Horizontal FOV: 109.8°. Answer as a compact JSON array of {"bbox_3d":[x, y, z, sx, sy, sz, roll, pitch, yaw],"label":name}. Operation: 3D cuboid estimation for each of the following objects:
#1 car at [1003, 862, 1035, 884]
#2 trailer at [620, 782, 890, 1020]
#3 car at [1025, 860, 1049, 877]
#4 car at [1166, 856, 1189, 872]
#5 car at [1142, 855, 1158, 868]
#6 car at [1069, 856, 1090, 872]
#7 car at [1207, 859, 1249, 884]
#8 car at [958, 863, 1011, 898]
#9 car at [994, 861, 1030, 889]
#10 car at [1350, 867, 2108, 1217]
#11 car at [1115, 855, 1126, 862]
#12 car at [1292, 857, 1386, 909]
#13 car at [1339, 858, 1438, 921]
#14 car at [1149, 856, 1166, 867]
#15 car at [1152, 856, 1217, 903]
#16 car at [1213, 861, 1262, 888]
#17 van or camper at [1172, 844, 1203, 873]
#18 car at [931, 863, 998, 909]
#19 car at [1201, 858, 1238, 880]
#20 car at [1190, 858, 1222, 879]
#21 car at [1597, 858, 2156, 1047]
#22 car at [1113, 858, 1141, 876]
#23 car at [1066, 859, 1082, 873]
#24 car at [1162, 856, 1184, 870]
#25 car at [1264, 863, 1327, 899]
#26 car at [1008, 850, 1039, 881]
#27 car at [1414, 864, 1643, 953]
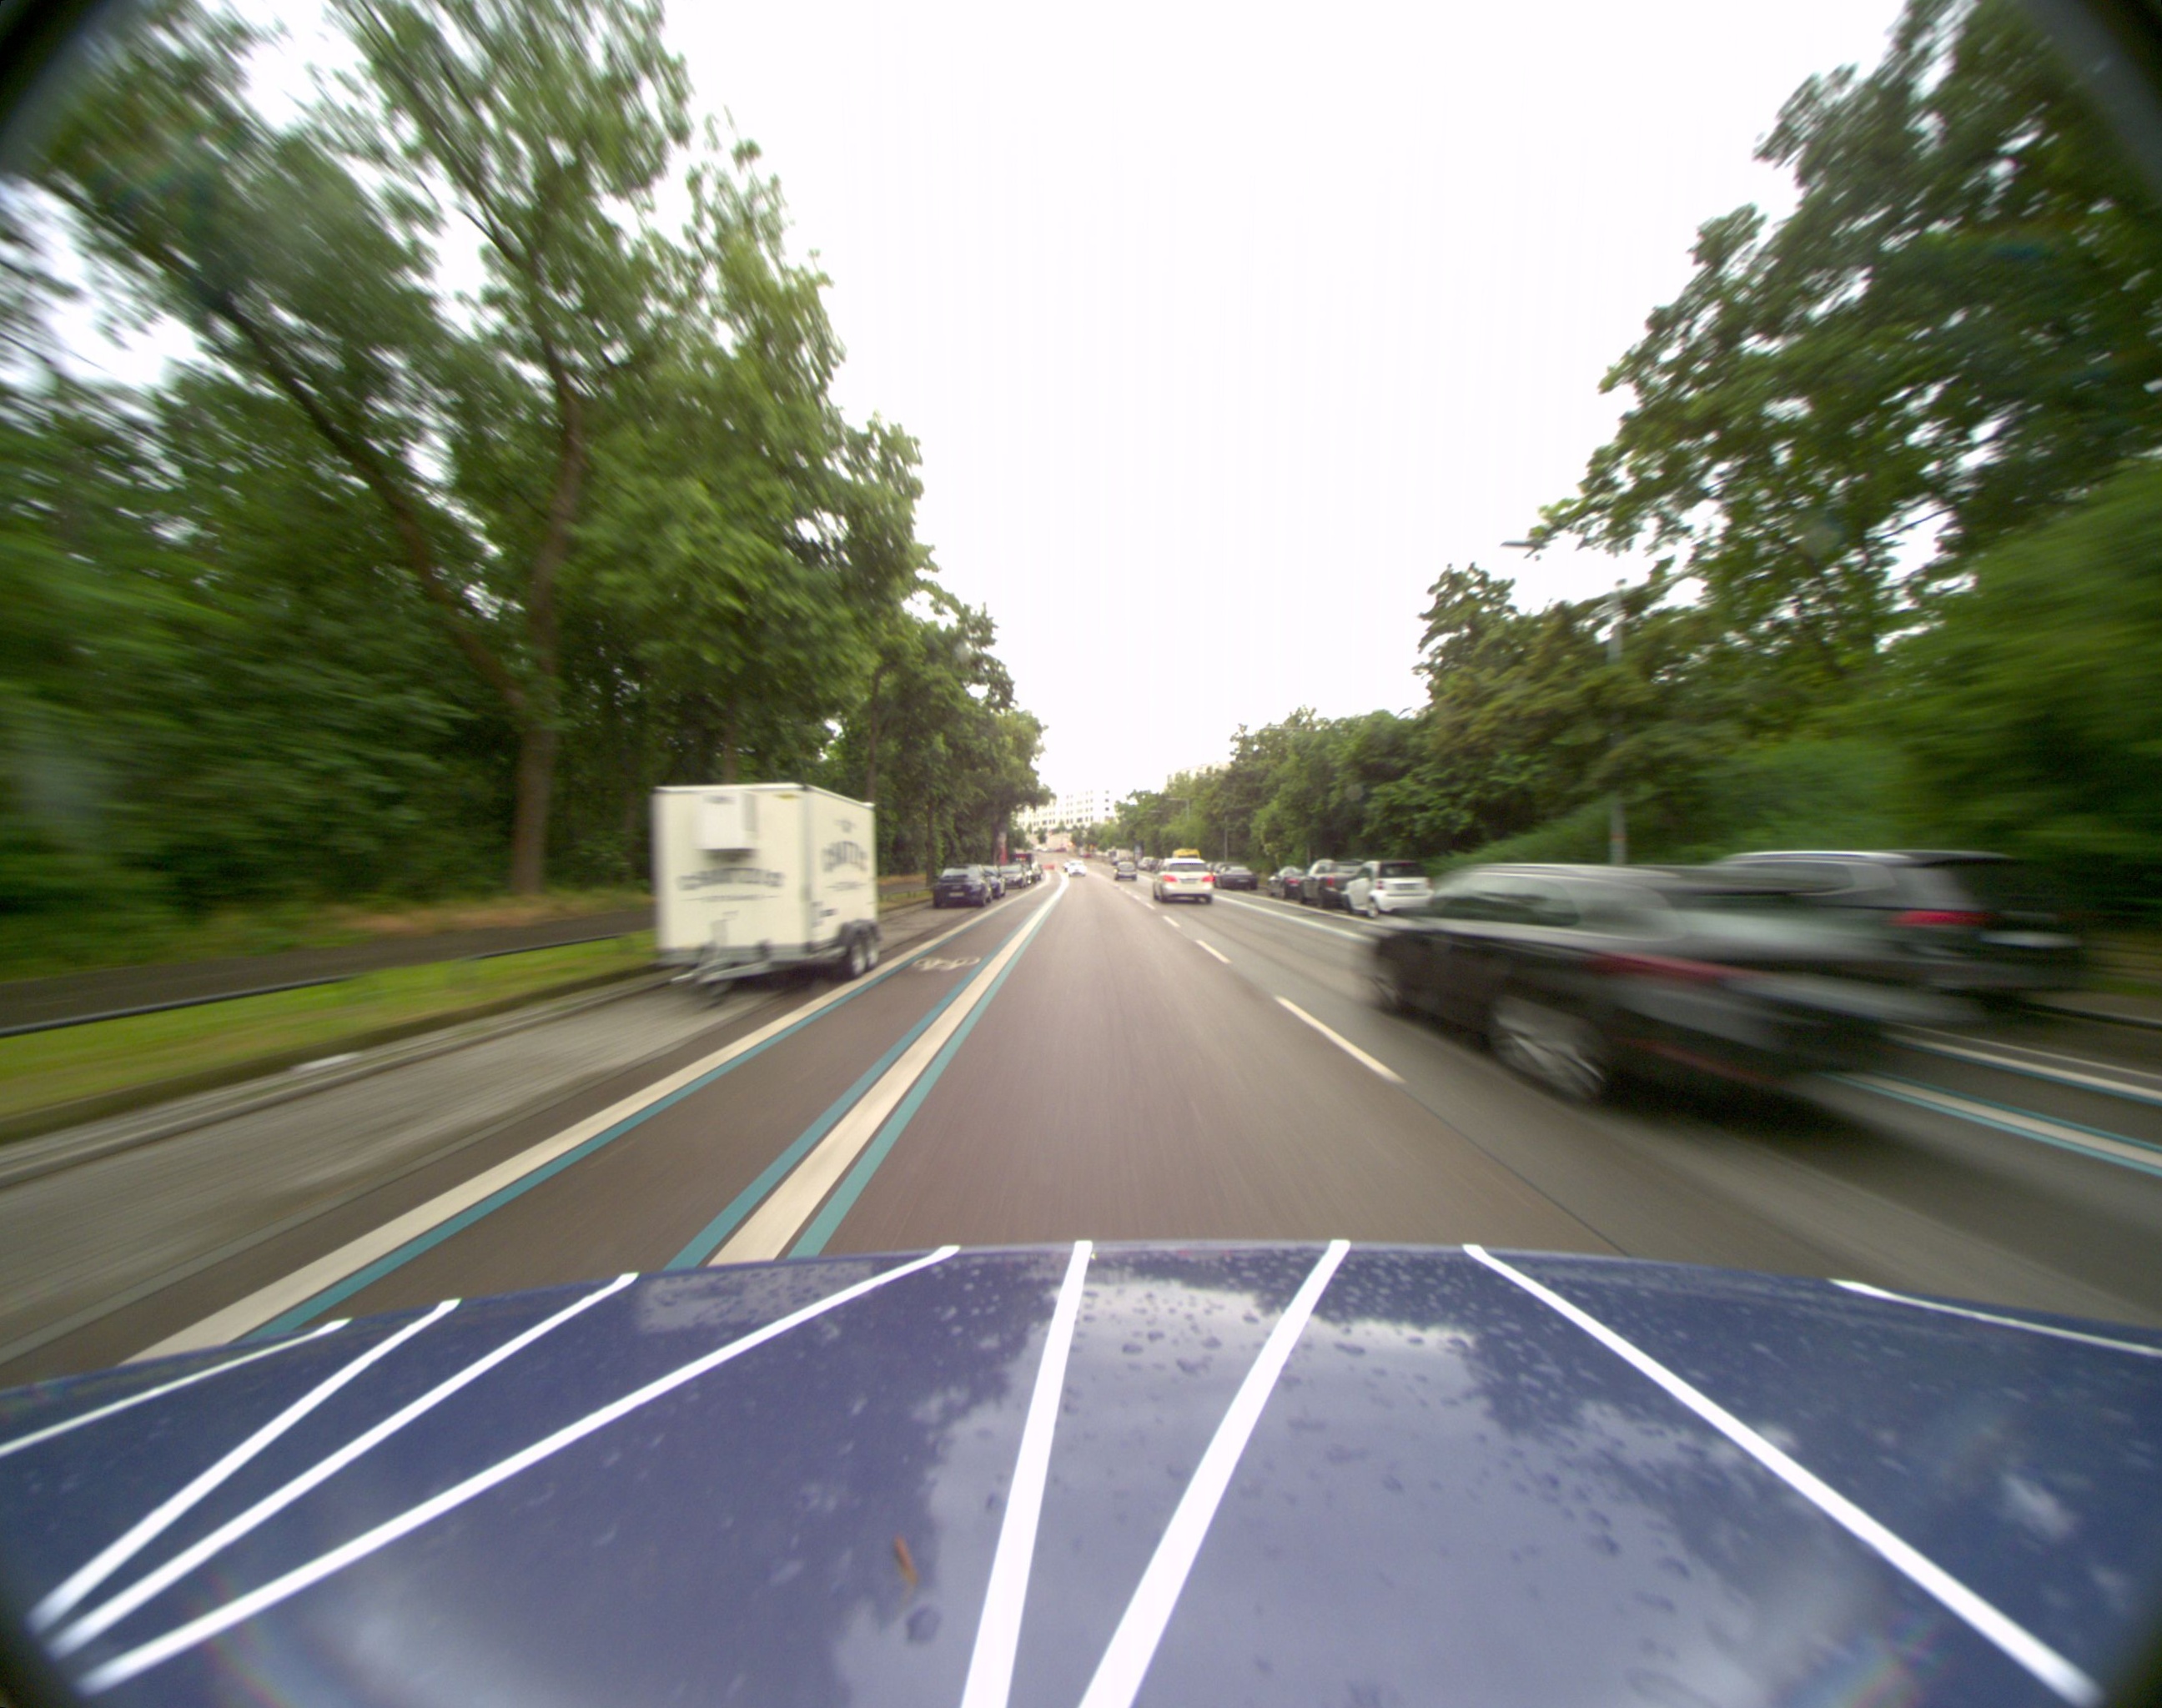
[{"bbox_3d":[-4.185,1.260,51.950,1.804,1.394,4.000,-1,0,0],"label":"car"},{"bbox_3d":[-4.057,0.517,10.304,1.988,2.550,3.999,-1,0,-2],"label":"trailer"},{"bbox_3d":[-3.896,1.300,67.698,1.862,1.361,4.000,-2,0,0],"label":"car"},{"bbox_3d":[9.308,0.939,73.446,1.825,1.427,3.559,-1,0,1],"label":"car"},{"bbox_3d":[9.228,0.986,102.362,1.825,1.650,3.558,-1,0,1],"label":"car"},{"bbox_3d":[-0.131,0.993,77.582,1.998,1.589,4.000,-1,0,1],"label":"car"},{"bbox_3d":[8.779,1.015,45.711,1.825,1.427,3.773,-1,0,1],"label":"car"},{"bbox_3d":[-4.197,1.125,33.656,1.804,1.370,4.000,-1,0,0],"label":"car"},{"bbox_3d":[-4.157,1.236,46.038,1.804,1.589,4.000,-1,0,0],"label":"car"},{"bbox_3d":[3.709,0.887,5.664,1.769,1.449,4.495,1,0,0],"label":"car"},{"bbox_3d":[7.451,0.837,142.985,1.825,1.427,3.558,1,0,1],"label":"car"},{"bbox_3d":[8.435,0.886,25.194,1.819,1.579,3.992,0,0,1],"label":"car"},{"bbox_3d":[8.338,0.913,20.833,1.527,1.584,2.860,0,0,0],"label":"car"},{"bbox_3d":[9.537,0.910,94.730,1.825,1.427,3.558,0,0,1],"label":"car"},{"bbox_3d":[3.687,0.872,27.747,1.790,1.570,4.258,0,0,0],"label":"car"},{"bbox_3d":[8.345,1.064,40.876,1.825,1.285,4.206,-1,0,1],"label":"car"},{"bbox_3d":[9.280,0.391,66.526,2.165,2.437,4.436,-1,0,0],"label":"van or camper"},{"bbox_3d":[-4.154,1.103,27.611,1.804,1.455,4.000,-1,0,0],"label":"car"},{"bbox_3d":[9.189,0.972,50.696,1.825,1.427,3.773,-1,0,1],"label":"car"},{"bbox_3d":[9.224,1.040,56.395,1.825,1.470,3.558,0,0,1],"label":"car"},{"bbox_3d":[8.595,0.877,9.031,1.740,1.651,4.673,0,0,0],"label":"car"},{"bbox_3d":[3.703,1.042,61.629,1.805,1.394,3.999,-1,0,-3],"label":"car"},{"bbox_3d":[-0.875,1.528,98.783,1.998,1.629,4.000,0,1,1],"label":"car"},{"bbox_3d":[9.369,0.905,77.705,1.825,1.427,3.559,-1,0,1],"label":"car"},{"bbox_3d":[8.522,1.047,30.421,1.513,1.285,3.597,-1,0,0],"label":"car"},{"bbox_3d":[-4.354,0.832,58.164,1.998,2.231,4.000,-2,1,0],"label":"car"},{"bbox_3d":[8.669,0.959,15.306,1.901,1.466,4.553,-1,0,0],"label":"car"}]
